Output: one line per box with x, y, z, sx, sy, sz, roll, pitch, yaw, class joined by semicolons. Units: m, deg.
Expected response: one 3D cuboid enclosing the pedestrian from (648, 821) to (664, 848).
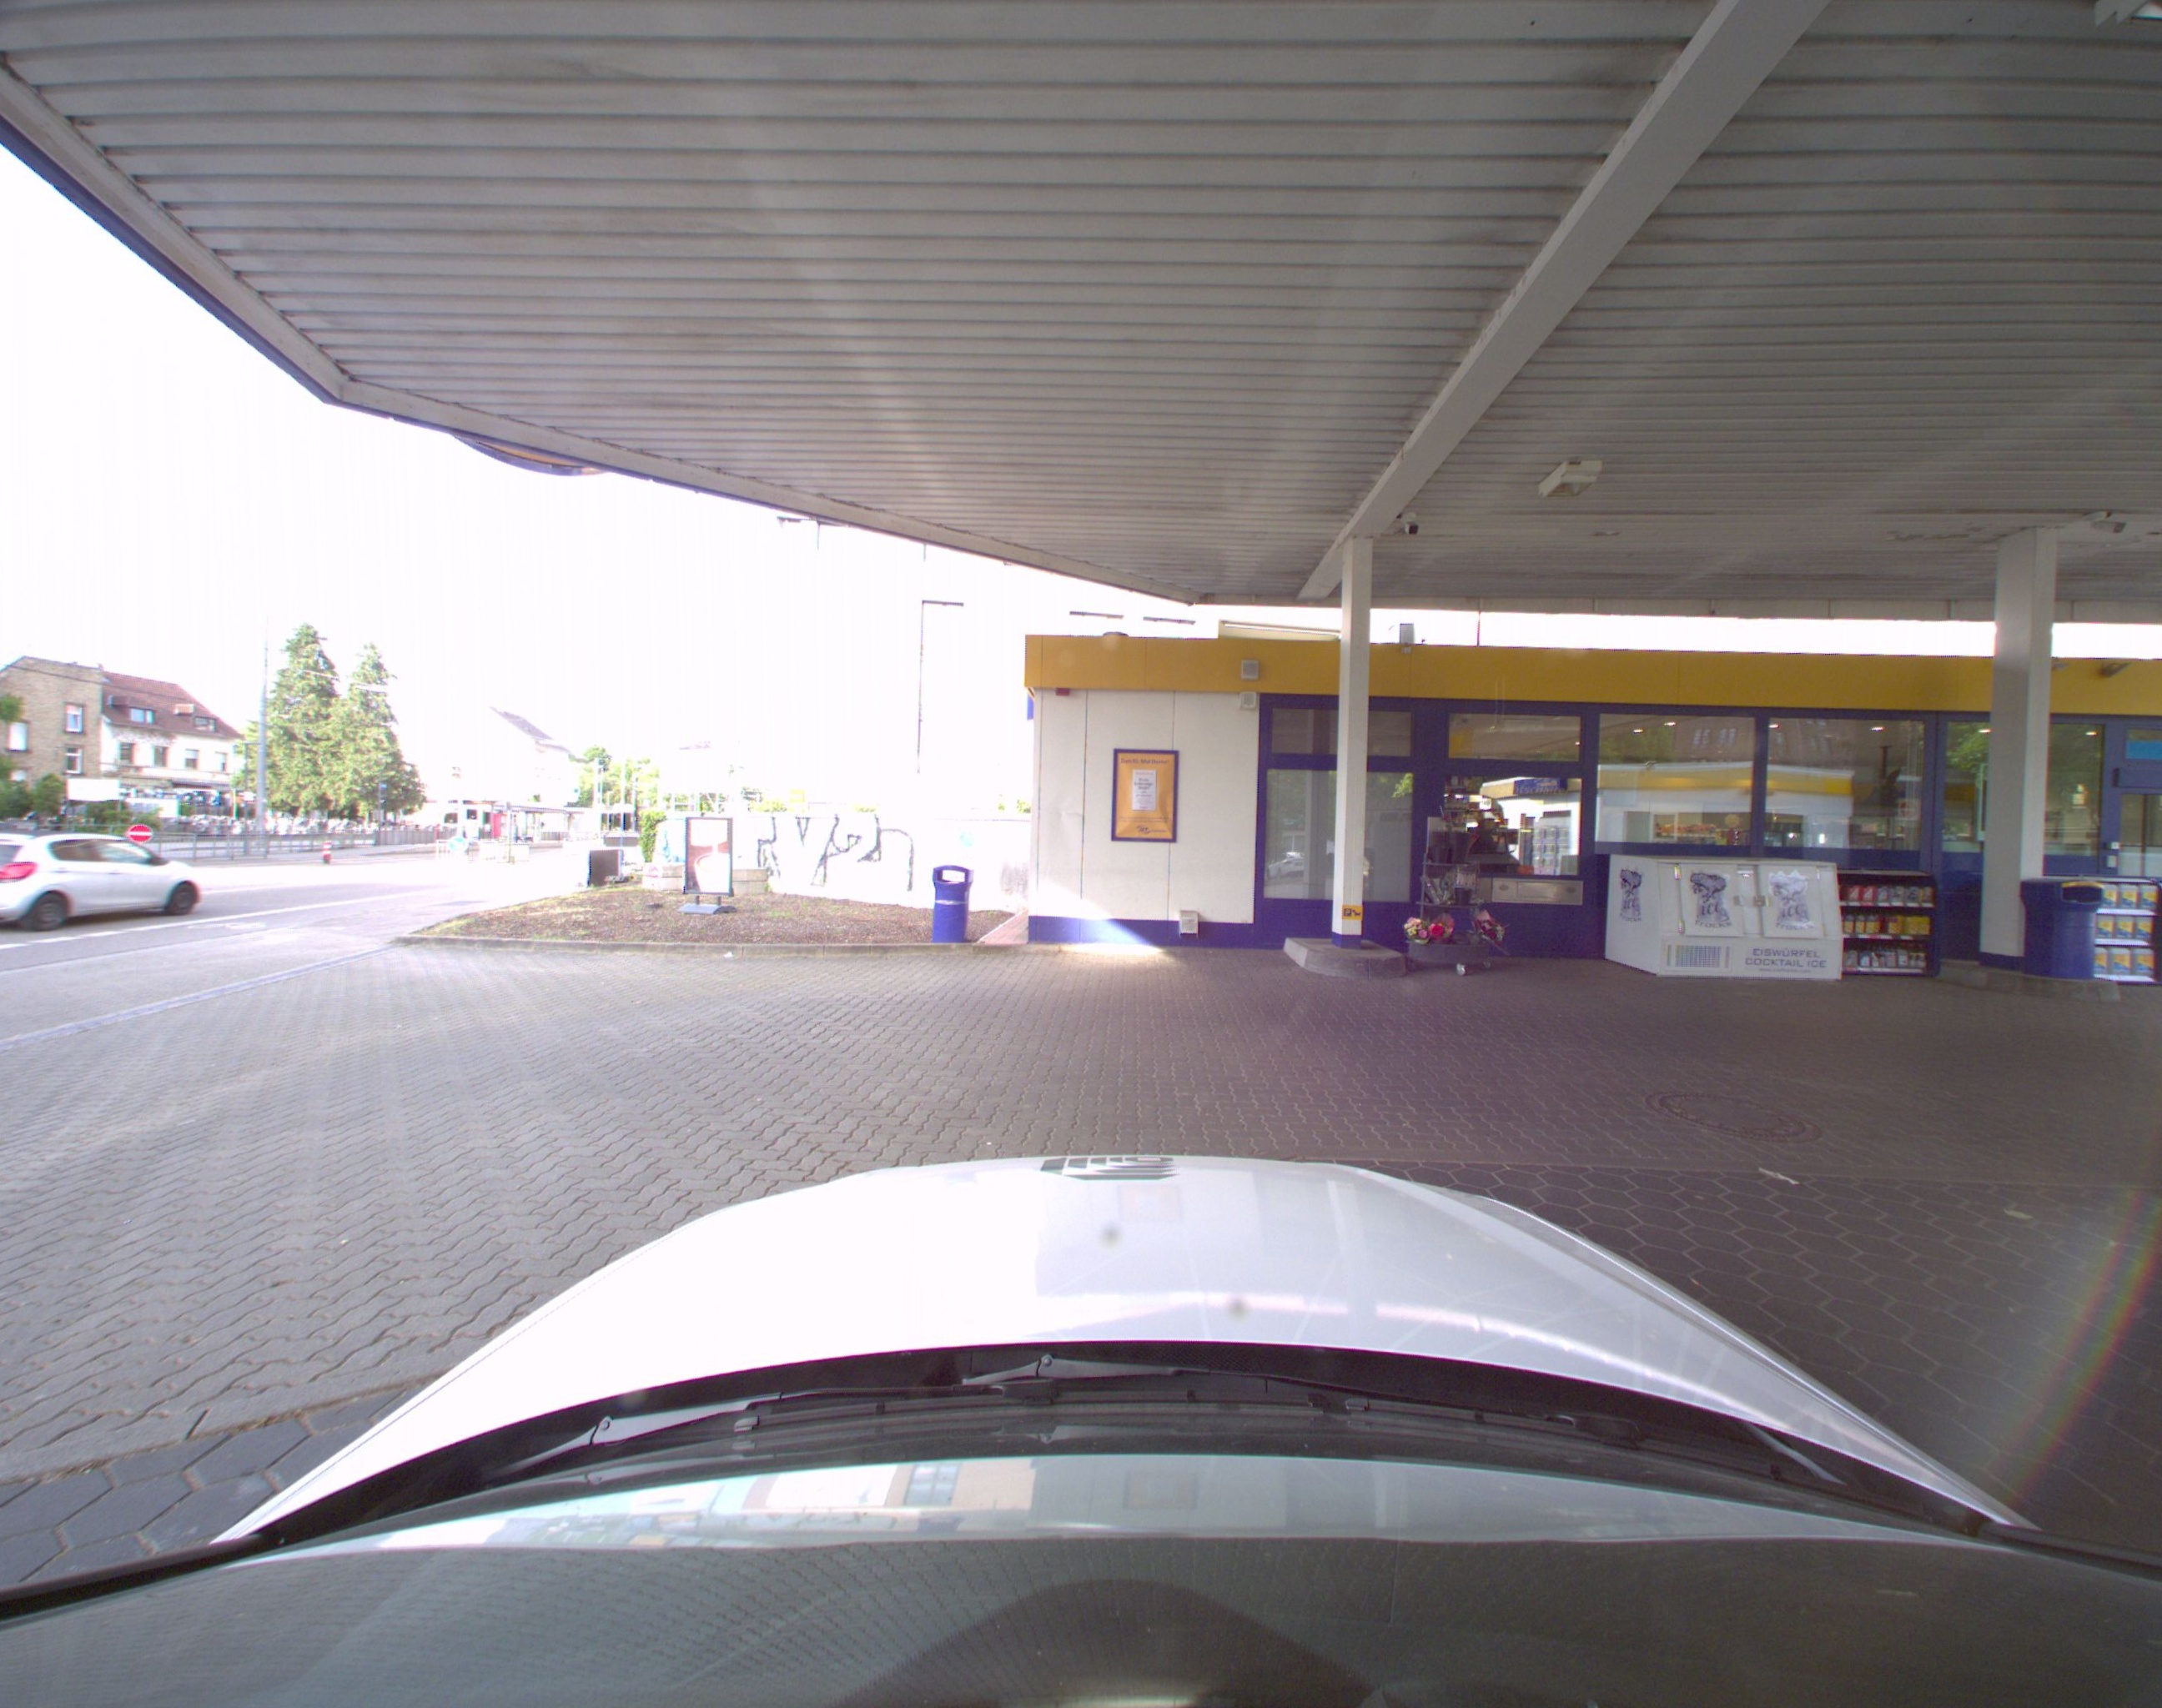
-31.449;-1.436;60.266;0.807;2.014;0.846;0;-1;-14;pedestrian

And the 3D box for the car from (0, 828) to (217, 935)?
-16.166;0.354;12.956;1.687;1.433;3.411;3;1;-14;car
